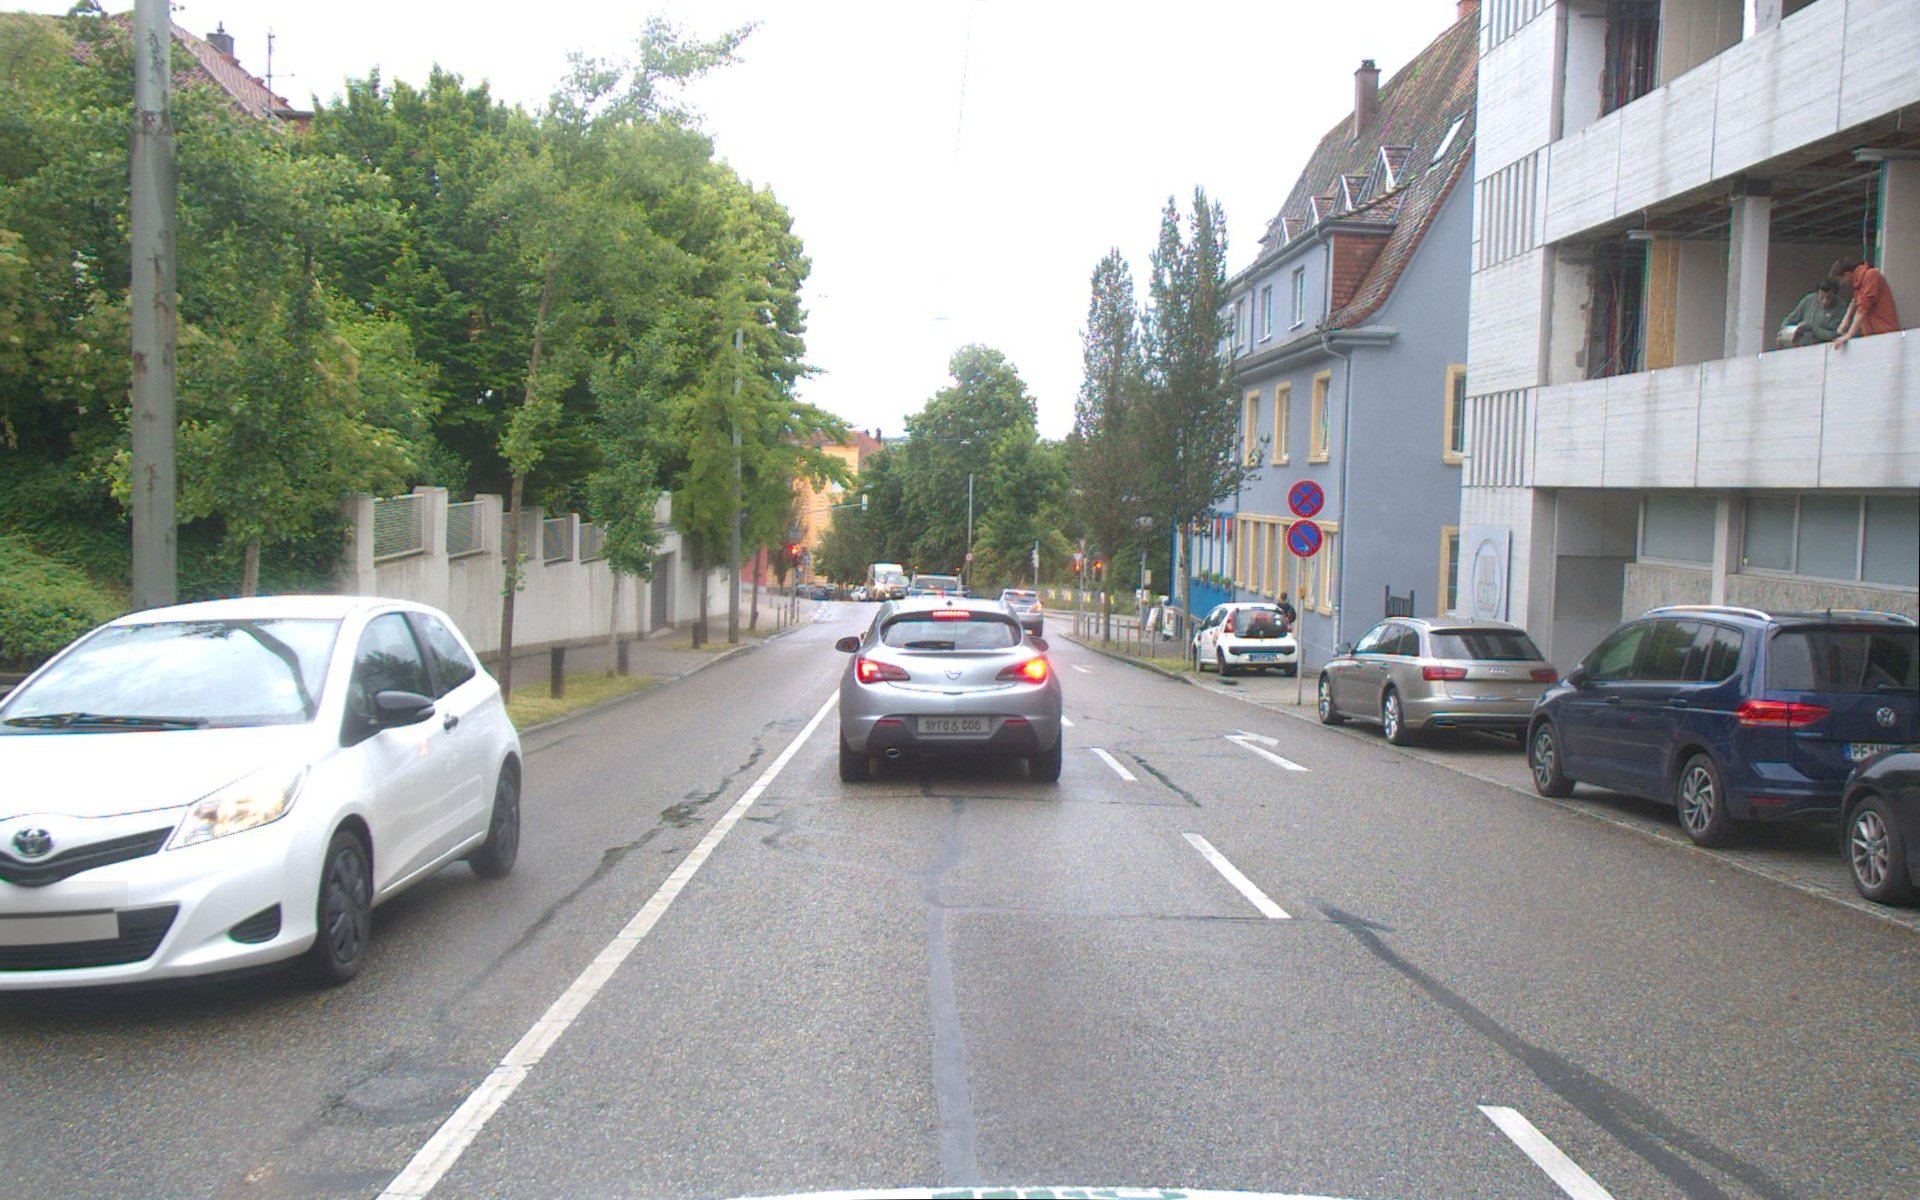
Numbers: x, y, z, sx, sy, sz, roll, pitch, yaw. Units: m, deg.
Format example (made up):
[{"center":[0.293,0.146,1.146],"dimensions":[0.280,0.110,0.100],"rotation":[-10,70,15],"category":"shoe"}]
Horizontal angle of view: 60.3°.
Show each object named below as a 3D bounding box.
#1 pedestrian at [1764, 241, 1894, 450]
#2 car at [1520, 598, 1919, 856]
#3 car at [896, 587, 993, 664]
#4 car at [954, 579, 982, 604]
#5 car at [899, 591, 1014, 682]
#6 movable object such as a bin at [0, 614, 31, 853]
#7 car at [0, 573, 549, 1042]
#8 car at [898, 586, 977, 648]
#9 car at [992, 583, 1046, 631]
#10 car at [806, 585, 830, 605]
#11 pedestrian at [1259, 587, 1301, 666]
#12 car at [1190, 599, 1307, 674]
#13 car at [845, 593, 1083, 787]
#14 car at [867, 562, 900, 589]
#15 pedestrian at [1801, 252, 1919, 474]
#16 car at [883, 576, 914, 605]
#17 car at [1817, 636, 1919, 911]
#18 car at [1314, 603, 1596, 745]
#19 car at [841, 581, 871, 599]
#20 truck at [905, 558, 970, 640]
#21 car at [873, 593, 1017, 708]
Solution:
[{"center":[9.162,-2.661,17.474],"dimensions":[0.889,2.049,0.861],"rotation":[1,-1,-1],"category":"pedestrian"},{"center":[5.941,0.817,12.714],"dimensions":[1.694,1.627,4.159],"rotation":[0,0,-3],"category":"car"},{"center":[-0.390,0.503,35.829],"dimensions":[1.922,1.473,4.303],"rotation":[2,1,-2],"category":"car"},{"center":[0.528,-0.590,115.322],"dimensions":[1.689,1.666,3.876],"rotation":[0,0,-4],"category":"car"},{"center":[-0.129,0.617,30.453],"dimensions":[1.922,1.473,4.303],"rotation":[2,1,-2],"category":"car"},{"center":[-5.962,0.745,8.951],"dimensions":[1.274,1.329,1.153],"rotation":[1,1,-9],"category":"movable object such as a bin"},{"center":[-3.177,0.705,7.540],"dimensions":[1.674,1.558,3.841],"rotation":[-2,0,-1],"category":"car"},{"center":[-0.632,0.410,43.486],"dimensions":[1.922,1.473,4.303],"rotation":[2,1,-2],"category":"car"},{"center":[2.156,0.234,61.568],"dimensions":[1.688,1.744,3.877],"rotation":[0,0,-3],"category":"car"},{"center":[-12.634,-0.419,147.061],"dimensions":[1.692,1.666,3.868],"rotation":[2,0,-12],"category":"car"},{"center":[7.323,0.606,37.852],"dimensions":[0.767,1.759,0.650],"rotation":[2,0,-1],"category":"pedestrian"},{"center":[6.080,0.734,35.206],"dimensions":[1.688,1.473,3.878],"rotation":[0,0,-2],"category":"car"},{"center":[-0.060,0.684,14.598],"dimensions":[1.800,1.459,3.877],"rotation":[1,0,-3],"category":"car"},{"center":[-4.936,-1.549,106.566],"dimensions":[1.691,1.666,3.871],"rotation":[0,0,-10],"category":"car"},{"center":[9.025,-2.321,16.414],"dimensions":[0.889,2.049,0.861],"rotation":[1,-1,-1],"category":"pedestrian"},{"center":[-3.674,-0.568,98.951],"dimensions":[1.833,1.666,3.878],"rotation":[0,0,-2],"category":"car"},{"center":[6.096,0.975,8.082],"dimensions":[1.712,1.473,4.252],"rotation":[0,0,2],"category":"car"},{"center":[5.894,0.818,20.322],"dimensions":[1.923,1.473,4.524],"rotation":[1,1,-3],"category":"car"},{"center":[-9.186,-0.864,145.585],"dimensions":[1.696,1.570,3.859],"rotation":[0,0,-18],"category":"car"},{"center":[-0.785,-0.051,53.484],"dimensions":[1.922,2.471,4.934],"rotation":[2,0,-2],"category":"truck"},{"center":[-0.276,0.678,24.729],"dimensions":[1.922,1.473,4.303],"rotation":[2,1,-2],"category":"car"}]
